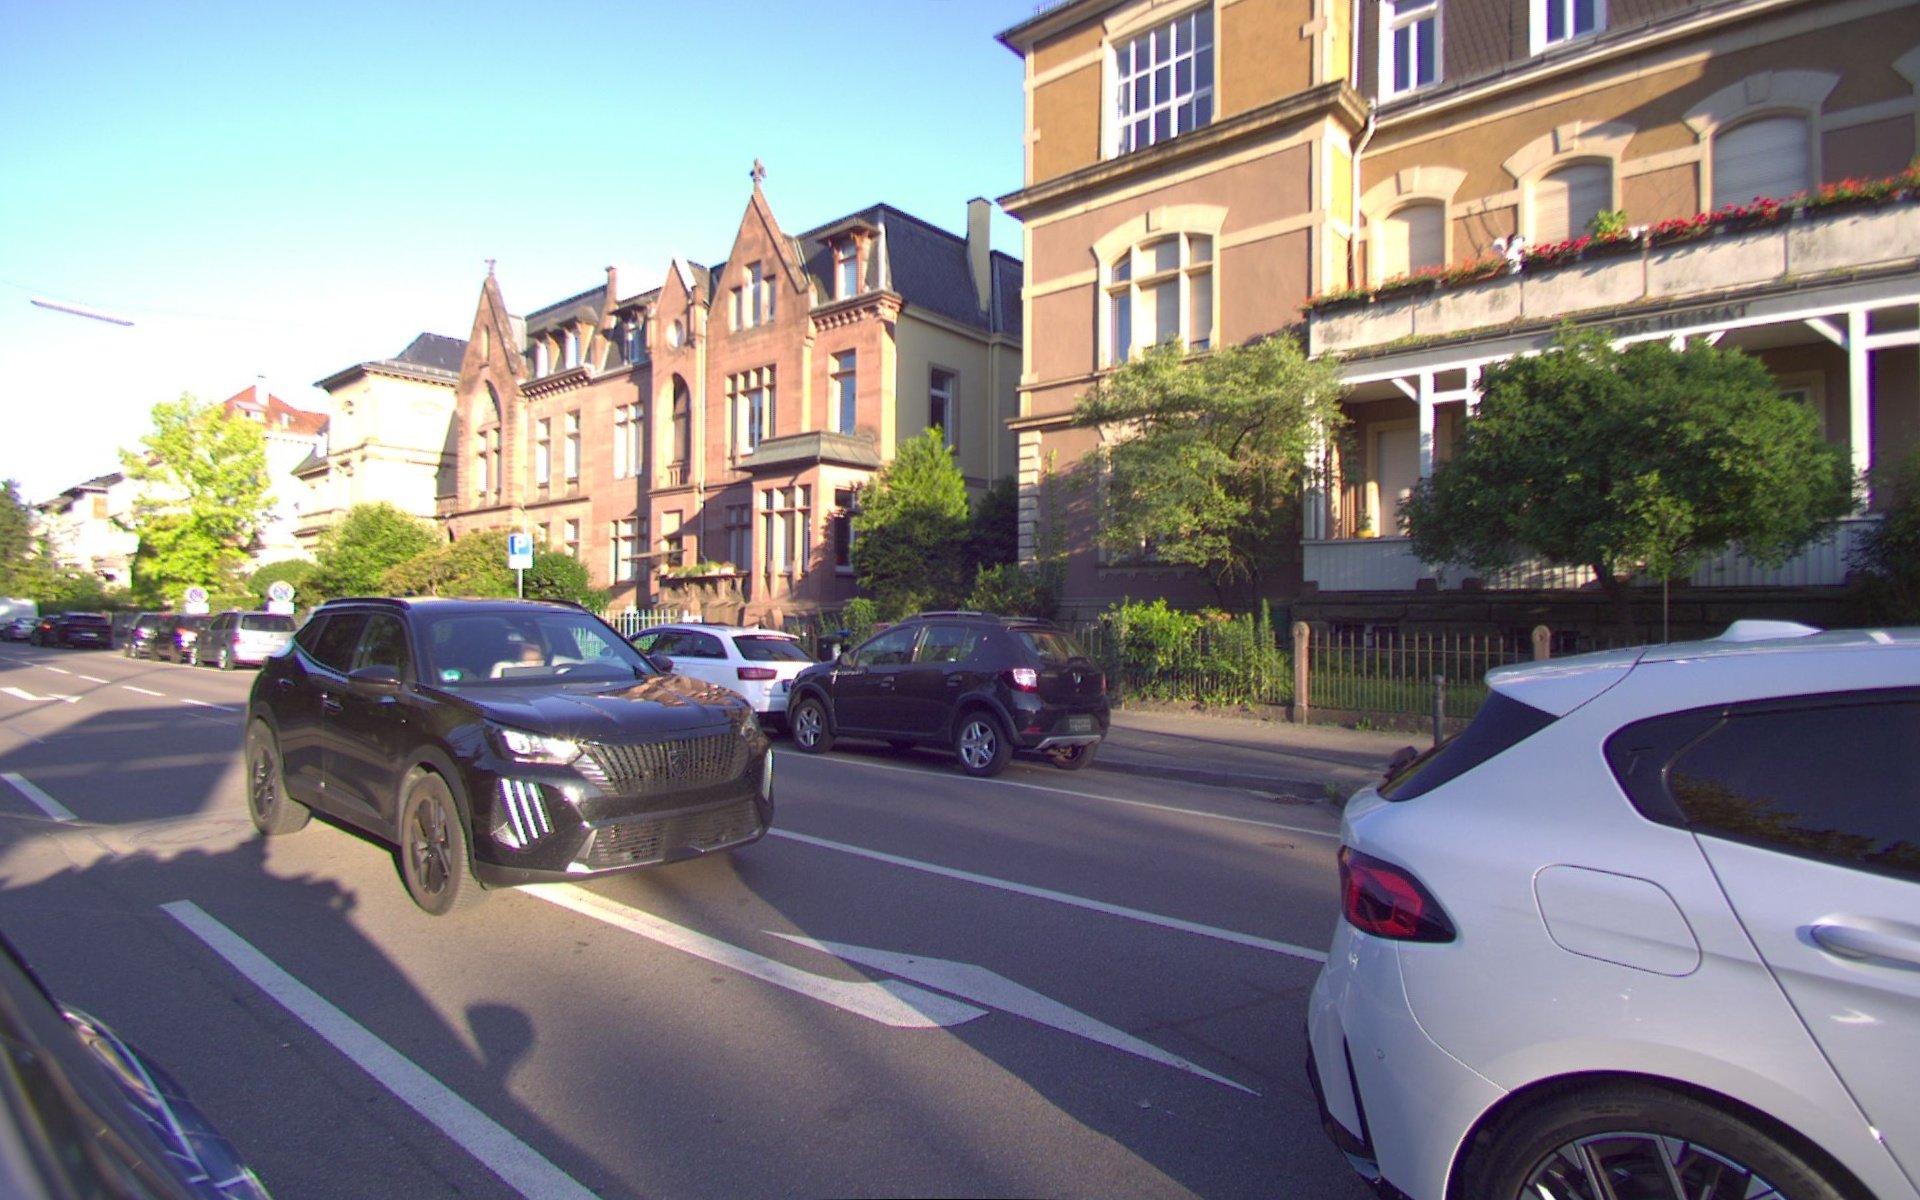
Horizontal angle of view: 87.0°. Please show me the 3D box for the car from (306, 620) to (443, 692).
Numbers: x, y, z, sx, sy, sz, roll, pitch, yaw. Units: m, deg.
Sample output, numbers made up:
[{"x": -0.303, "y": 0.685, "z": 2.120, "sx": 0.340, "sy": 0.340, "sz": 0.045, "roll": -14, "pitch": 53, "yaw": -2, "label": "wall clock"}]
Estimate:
[{"x": -12.958, "y": 1.181, "z": 22.331, "sx": 3.566, "sy": 1.456, "sz": 1.610, "roll": -1, "pitch": -3, "yaw": 43, "label": "car"}]

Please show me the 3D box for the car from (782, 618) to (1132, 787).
[{"x": -0.141, "y": 1.018, "z": 11.124, "sx": 3.722, "sy": 1.546, "sz": 1.610, "roll": -1, "pitch": -5, "yaw": 43, "label": "car"}]

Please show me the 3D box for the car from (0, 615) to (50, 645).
[{"x": -51.341, "y": 1.642, "z": 55.458, "sx": 3.852, "sy": 1.617, "sz": 1.693, "roll": -1, "pitch": -3, "yaw": 41, "label": "car"}]

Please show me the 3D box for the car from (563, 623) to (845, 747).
[{"x": -3.674, "y": 1.090, "z": 14.044, "sx": 4.432, "sy": 1.454, "sz": 1.587, "roll": -1, "pitch": -5, "yaw": 43, "label": "car"}]

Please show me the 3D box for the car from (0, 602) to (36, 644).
[{"x": -56.641, "y": 1.331, "z": 59.766, "sx": 5.874, "sy": 2.387, "sz": 2.203, "roll": -1, "pitch": -3, "yaw": 40, "label": "car"}]

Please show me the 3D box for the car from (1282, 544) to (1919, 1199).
[{"x": 2.803, "y": 0.661, "z": 1.366, "sx": 4.185, "sy": 1.477, "sz": 1.734, "roll": -1, "pitch": -2, "yaw": 40, "label": "car"}]

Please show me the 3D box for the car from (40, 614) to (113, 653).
[{"x": -38.282, "y": 1.458, "z": 43.833, "sx": 3.721, "sy": 1.617, "sz": 1.856, "roll": -1, "pitch": -3, "yaw": 41, "label": "car"}]

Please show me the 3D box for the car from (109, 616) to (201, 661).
[{"x": -27.491, "y": 1.300, "z": 34.532, "sx": 3.719, "sy": 1.461, "sz": 1.694, "roll": -1, "pitch": -3, "yaw": 39, "label": "car"}]

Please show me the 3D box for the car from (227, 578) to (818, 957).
[{"x": -2.818, "y": 0.731, "z": 6.089, "sx": 3.997, "sy": 1.547, "sz": 1.661, "roll": -1, "pitch": -2, "yaw": 40, "label": "car"}]

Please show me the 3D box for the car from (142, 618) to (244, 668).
[{"x": -24.005, "y": 1.311, "z": 31.631, "sx": 3.719, "sy": 1.461, "sz": 1.694, "roll": -1, "pitch": -3, "yaw": 39, "label": "car"}]

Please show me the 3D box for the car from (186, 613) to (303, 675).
[{"x": -20.089, "y": 1.206, "z": 28.374, "sx": 3.749, "sy": 1.601, "sz": 1.694, "roll": -1, "pitch": -3, "yaw": 39, "label": "car"}]
